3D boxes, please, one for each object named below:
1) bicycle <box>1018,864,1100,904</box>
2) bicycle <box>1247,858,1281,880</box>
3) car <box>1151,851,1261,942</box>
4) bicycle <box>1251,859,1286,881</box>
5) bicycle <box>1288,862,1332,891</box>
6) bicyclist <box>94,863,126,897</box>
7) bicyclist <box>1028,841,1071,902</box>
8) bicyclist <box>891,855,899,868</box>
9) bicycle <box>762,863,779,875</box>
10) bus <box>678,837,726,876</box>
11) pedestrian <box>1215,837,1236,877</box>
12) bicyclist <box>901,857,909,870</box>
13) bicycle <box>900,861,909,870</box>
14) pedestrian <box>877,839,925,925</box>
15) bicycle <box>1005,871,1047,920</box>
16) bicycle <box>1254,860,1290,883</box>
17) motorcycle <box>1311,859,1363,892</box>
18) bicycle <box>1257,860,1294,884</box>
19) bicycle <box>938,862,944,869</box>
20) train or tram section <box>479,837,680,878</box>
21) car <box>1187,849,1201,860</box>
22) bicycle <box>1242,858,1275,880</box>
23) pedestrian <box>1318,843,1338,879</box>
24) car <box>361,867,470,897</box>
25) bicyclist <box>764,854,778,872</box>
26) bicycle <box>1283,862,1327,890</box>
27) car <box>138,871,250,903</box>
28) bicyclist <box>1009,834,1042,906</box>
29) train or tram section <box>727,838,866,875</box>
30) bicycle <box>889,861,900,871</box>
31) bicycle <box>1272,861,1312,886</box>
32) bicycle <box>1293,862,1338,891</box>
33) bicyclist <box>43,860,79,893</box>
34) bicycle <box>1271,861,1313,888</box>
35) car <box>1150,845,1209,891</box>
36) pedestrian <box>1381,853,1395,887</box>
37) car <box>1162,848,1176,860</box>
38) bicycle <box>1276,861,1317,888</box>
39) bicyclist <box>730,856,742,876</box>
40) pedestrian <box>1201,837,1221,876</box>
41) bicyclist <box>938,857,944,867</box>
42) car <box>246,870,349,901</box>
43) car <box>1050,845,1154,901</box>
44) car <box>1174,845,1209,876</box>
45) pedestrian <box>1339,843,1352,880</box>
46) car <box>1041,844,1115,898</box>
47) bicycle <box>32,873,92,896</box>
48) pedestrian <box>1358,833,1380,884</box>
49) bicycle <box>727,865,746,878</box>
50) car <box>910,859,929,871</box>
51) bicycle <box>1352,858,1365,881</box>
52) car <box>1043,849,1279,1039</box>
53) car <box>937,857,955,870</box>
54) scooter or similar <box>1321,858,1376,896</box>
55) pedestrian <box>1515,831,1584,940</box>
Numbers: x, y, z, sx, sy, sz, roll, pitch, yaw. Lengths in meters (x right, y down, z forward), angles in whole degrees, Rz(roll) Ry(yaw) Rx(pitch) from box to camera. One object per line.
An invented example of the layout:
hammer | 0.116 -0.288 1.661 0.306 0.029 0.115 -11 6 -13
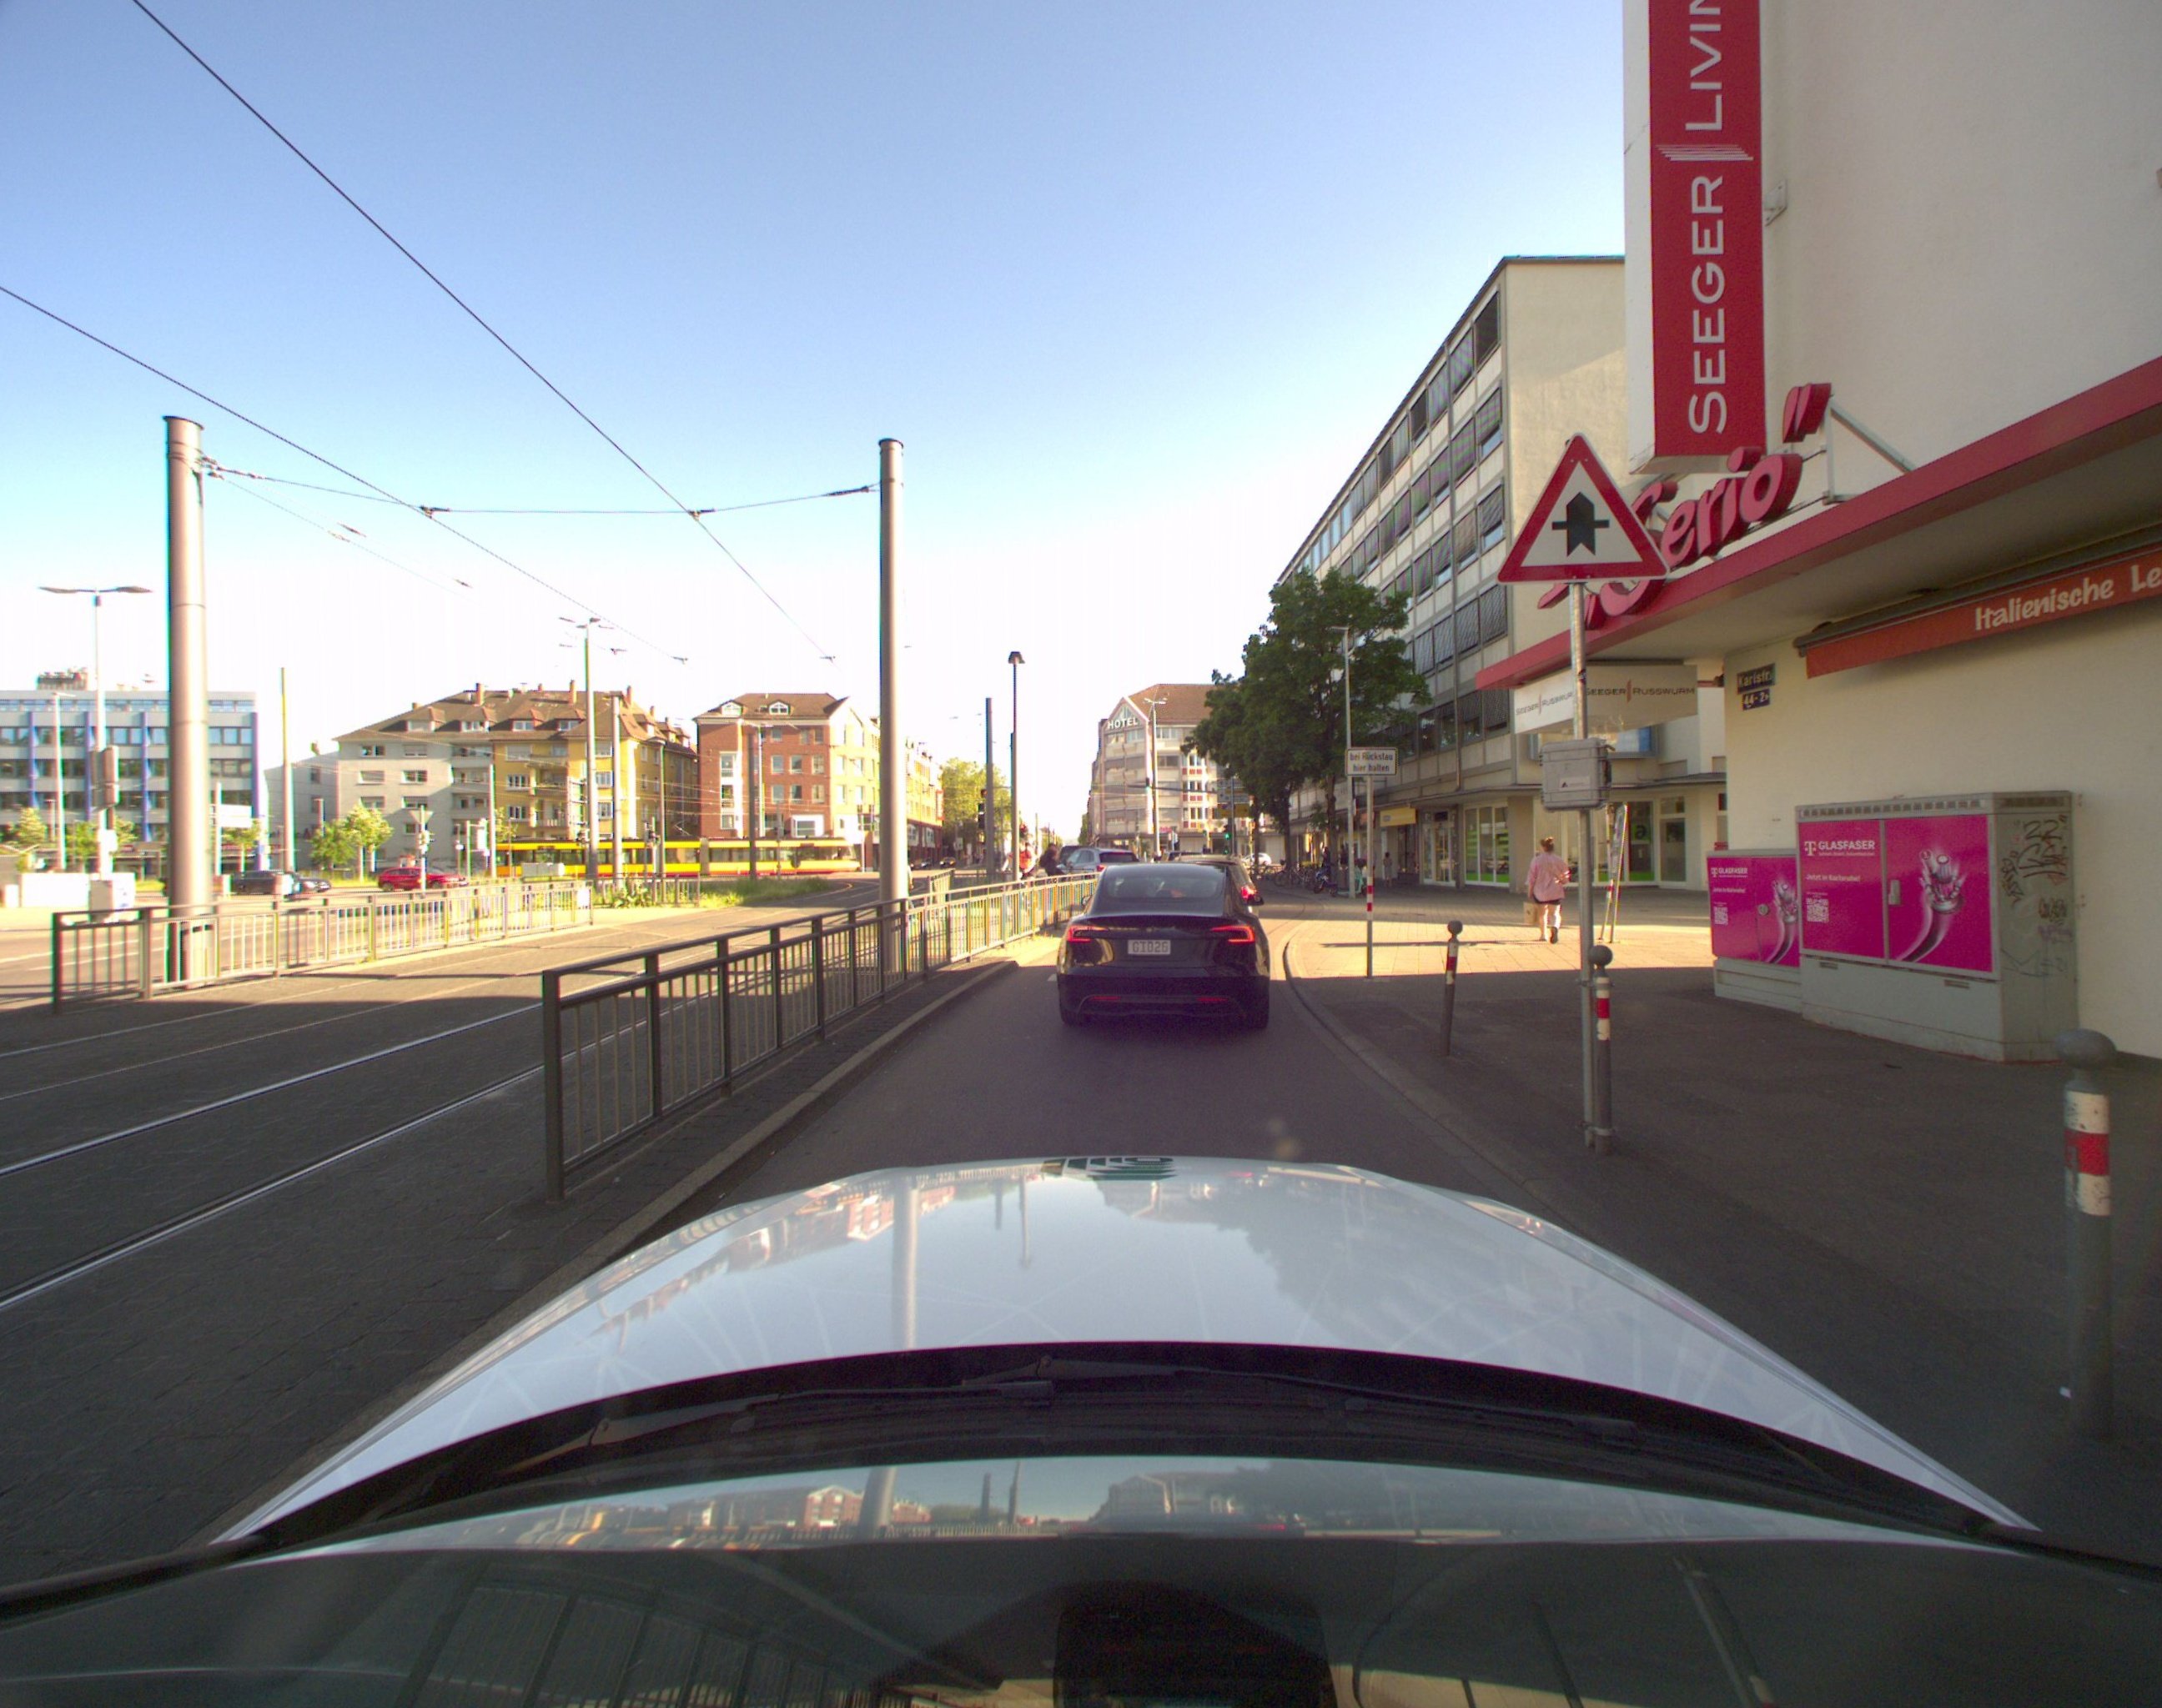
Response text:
bicycle | -0.588 0.814 22.643 2.346 1.053 0.624 0 -1 -36
bicycle | 9.266 0.756 41.301 1.643 1.099 0.350 -1 0 3
car | 2.288 0.678 15.064 1.741 1.454 4.009 0 0 8
bicycle | 9.283 0.793 40.253 1.643 1.099 0.350 0 -1 3
bicycle | 8.819 0.864 31.365 1.649 1.061 0.349 0 -1 -9
bicyclist | -50.366 1.339 42.239 0.747 1.759 0.759 0 -1 4
bicyclist | -0.876 0.462 22.380 0.763 1.628 0.967 0 -1 -37
bicyclist | -22.583 0.905 98.890 0.779 1.563 0.748 0 -1 7
bicycle | -26.055 1.276 68.387 0.522 0.972 2.247 0 -1 2
bus | -31.631 0.218 68.079 3.531 3.131 2.750 0 -1 -23
pedestrian | 7.277 0.147 41.003 0.917 2.014 0.973 0 -1 1
bicyclist | -22.354 1.180 103.322 0.780 1.563 0.747 -1 0 2
bicycle | -22.389 1.419 103.288 0.527 1.088 2.285 -1 0 2
pedestrian | -3.645 0.556 16.544 0.585 1.681 0.779 -1 -1 24
bicycle | -1.173 0.876 17.637 0.399 0.994 1.609 -1 -1 15
bicycle | 9.207 0.837 39.241 1.643 1.099 0.350 0 -1 3
motorcycle | 9.147 0.767 29.171 1.701 1.173 0.541 0 -1 0
bicycle | 9.143 0.833 38.215 1.643 1.099 0.350 0 -1 3
bicycle | -23.225 1.870 134.883 0.527 1.088 2.227 0 -1 4
train or tram section | -40.239 0.264 65.893 13.682 3.131 2.722 0 -1 -12
car | 10.815 0.038 77.883 0.914 1.099 1.876 -1 0 18
bicycle | 9.247 0.786 42.396 1.643 1.099 0.350 0 -1 3
pedestrian | 11.621 0.341 38.293 0.697 1.662 0.777 0 -1 1
car | -39.454 1.637 48.377 4.585 1.700 1.993 0 -1 -10
bicyclist | -26.065 0.719 68.396 0.895 1.503 0.696 0 -1 1
bicycle | 8.733 0.857 31.791 1.649 1.099 0.349 0 -1 -9
car | -50.621 1.860 46.564 3.952 1.685 1.903 0 -1 -11
bicyclist | -1.197 0.337 17.633 0.388 1.521 1.048 -1 -1 15
train or tram section | -24.987 0.200 71.961 11.304 3.131 2.777 0 -1 -31
bicycle | -22.584 1.446 98.652 0.534 1.088 2.229 0 -1 7
bicycle | 9.121 0.839 35.260 1.643 1.099 0.350 0 -1 3
bicycle | 8.897 0.857 30.941 1.649 1.099 0.349 0 -1 -9
bicyclist | -55.247 1.211 44.122 0.901 1.808 0.788 0 -1 -11
bicycle | 8.619 0.844 33.322 1.649 1.099 0.349 0 -1 -9
car | 3.990 0.549 33.600 1.596 1.778 3.973 0 -1 -5
pedestrian | 12.261 0.634 32.515 0.388 1.343 0.513 0 -1 4
car | 8.200 0.030 76.074 0.914 1.100 1.876 -1 -1 18
bicycle | 9.008 0.846 34.049 1.649 1.099 0.349 0 -1 -9
bicyclist | -26.056 0.900 61.551 0.631 1.503 0.696 0 -1 1
pedestrian | 6.928 0.137 43.546 0.917 2.014 0.973 0 -1 1
bicyclist | -23.269 1.345 135.000 0.780 1.563 0.747 0 -1 3
car | -45.491 1.821 47.382 3.984 1.672 1.772 0 -1 -8
car | 0.597 0.585 26.636 1.891 1.662 4.126 0 -1 -23
car | 6.527 0.398 48.484 1.713 1.751 3.755 0 -1 2
pedestrian | 12.518 0.358 38.526 0.523 1.710 0.404 0 -1 7
car | -0.195 0.660 32.698 1.997 2.014 3.980 -1 0 -15
bicycle | -55.190 1.658 44.130 2.188 1.214 0.544 0 -1 -11
pedestrian | 11.555 0.189 32.675 0.659 2.014 0.580 0 -1 4
bicycle | -26.045 1.311 61.609 0.445 0.972 2.247 0 -1 2
car | -20.501 1.382 103.426 1.706 1.527 4.032 0 -1 -3
bicycle | 12.989 0.714 38.138 0.330 1.034 1.258 0 -1 6
car | 0.848 0.710 8.337 1.820 1.455 4.007 0 -1 7
car | -17.675 1.214 106.858 1.692 1.731 3.706 0 -1 0
scooter or similar | 8.900 0.763 27.101 1.625 1.215 0.649 -1 -1 32
pedestrian | 7.446 0.487 12.986 0.881 1.667 0.813 -1 -1 25
